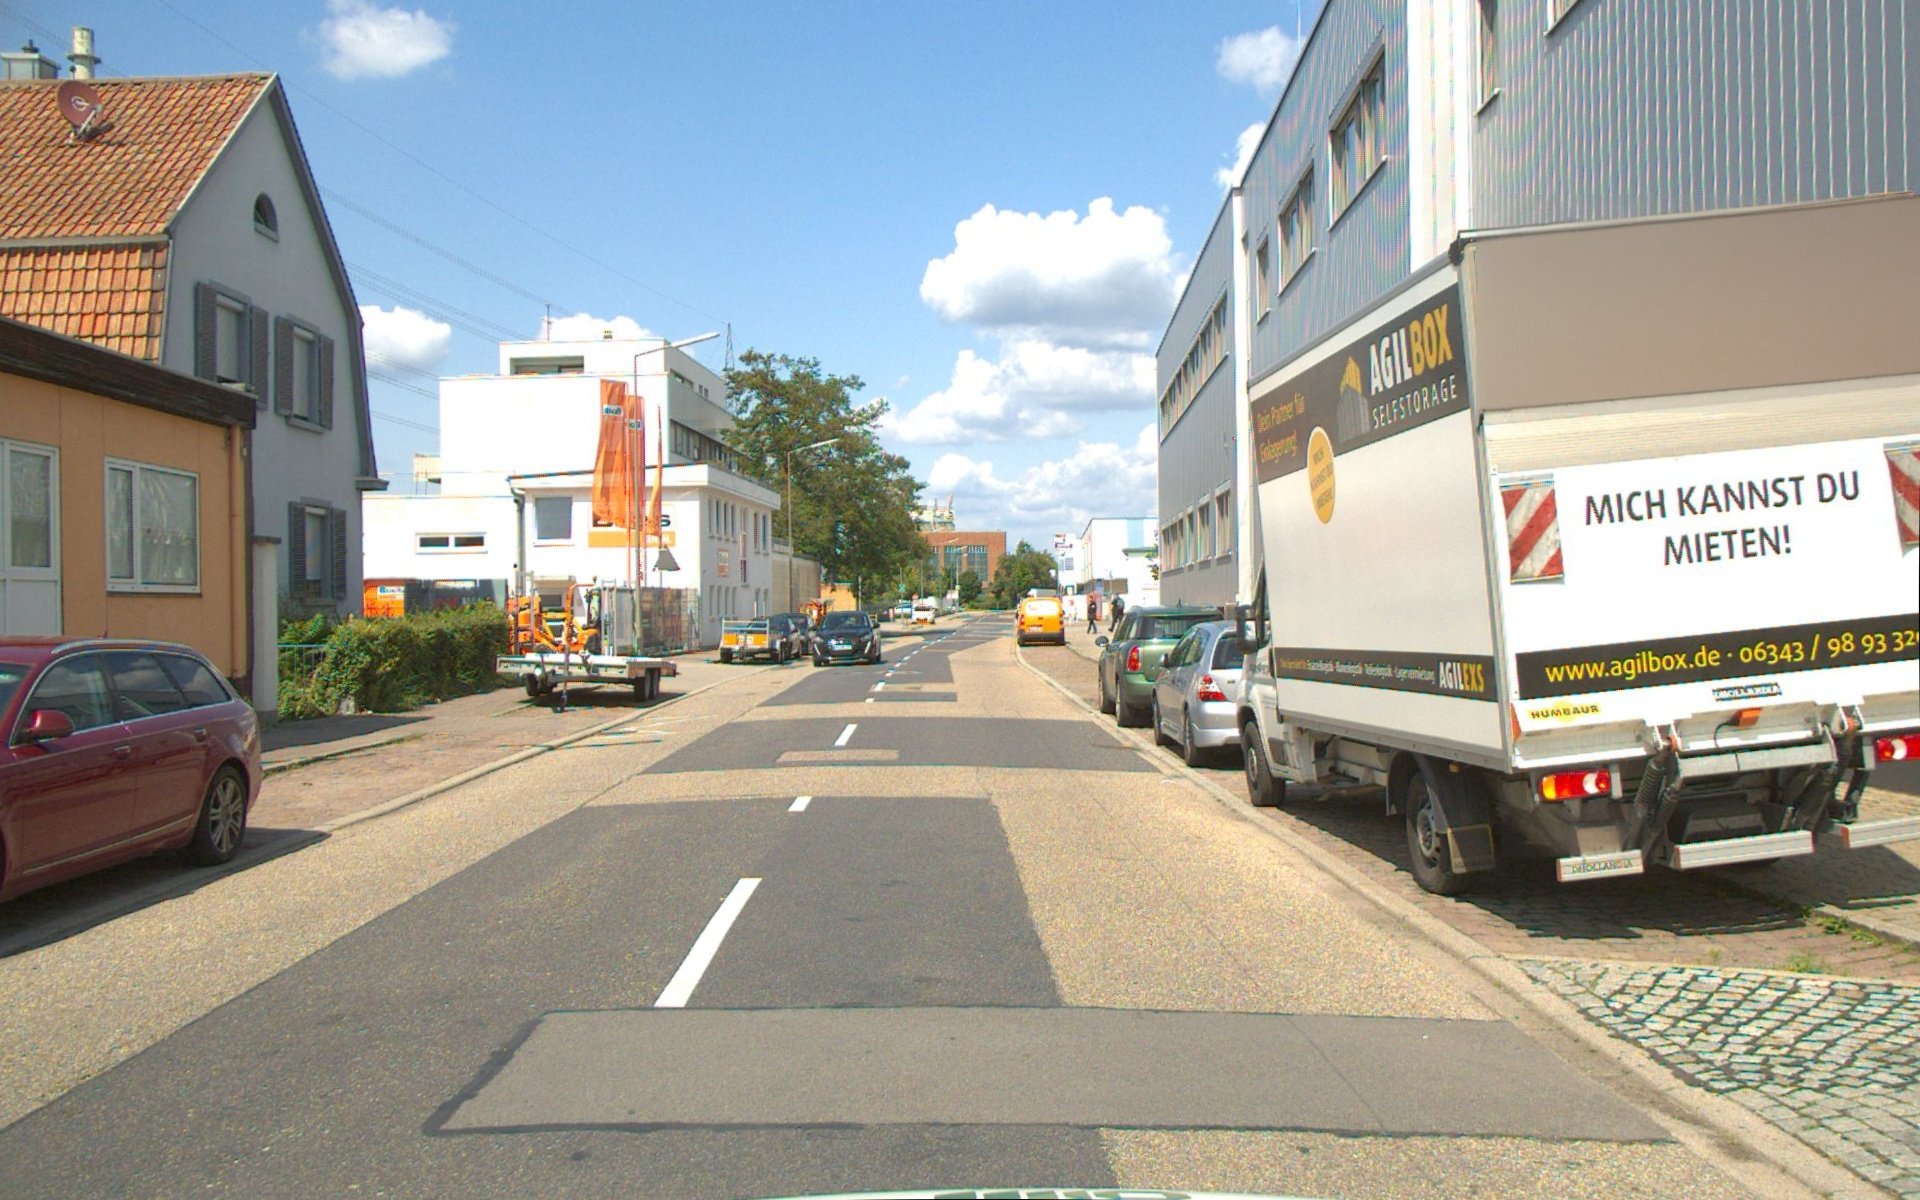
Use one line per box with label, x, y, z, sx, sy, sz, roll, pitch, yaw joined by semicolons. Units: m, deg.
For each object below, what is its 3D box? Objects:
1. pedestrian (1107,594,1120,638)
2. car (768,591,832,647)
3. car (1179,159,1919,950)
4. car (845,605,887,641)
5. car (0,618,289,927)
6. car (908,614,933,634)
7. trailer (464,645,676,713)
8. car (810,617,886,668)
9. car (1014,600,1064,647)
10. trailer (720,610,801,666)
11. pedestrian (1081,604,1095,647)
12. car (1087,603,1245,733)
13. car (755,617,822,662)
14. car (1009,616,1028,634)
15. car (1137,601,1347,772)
pedestrian;7.445;0.779;80.185;0.577;2.087;0.701;0;-1;-1
car;-6.208;0.761;64.497;1.952;2.049;4.000;1;-1;1
car;3.301;-0.205;10.672;2.341;3.421;6.640;-3;0;-4
car;-4.958;1.230;87.689;1.882;1.825;4.000;1;-1;1
car;-5.525;0.849;9.087;1.726;1.473;4.740;2;-1;0
car;-3.361;2.080;141.636;1.772;1.591;4.001;1;-1;3
trailer;-6.397;1.272;27.883;2.314;0.908;5.567;2;-1;-1
car;-3.015;1.146;45.193;1.879;1.307;3.613;-1;-1;-1
car;3.077;0.946;65.189;1.899;1.772;4.377;-1;-1;2
trailer;-5.884;1.116;49.151;1.953;1.584;4.252;0;-1;-1
pedestrian;6.156;1.236;79.586;0.578;2.049;0.618;0;-1;-3
car;2.777;0.905;23.036;1.732;1.640;3.873;0;-1;0
car;-5.930;1.363;57.683;1.787;1.467;4.000;1;-1;1
car;5.945;2.516;168.256;1.899;1.772;4.377;-1;-1;2
car;2.903;0.847;17.775;1.535;1.601;4.068;-1;-1;0
